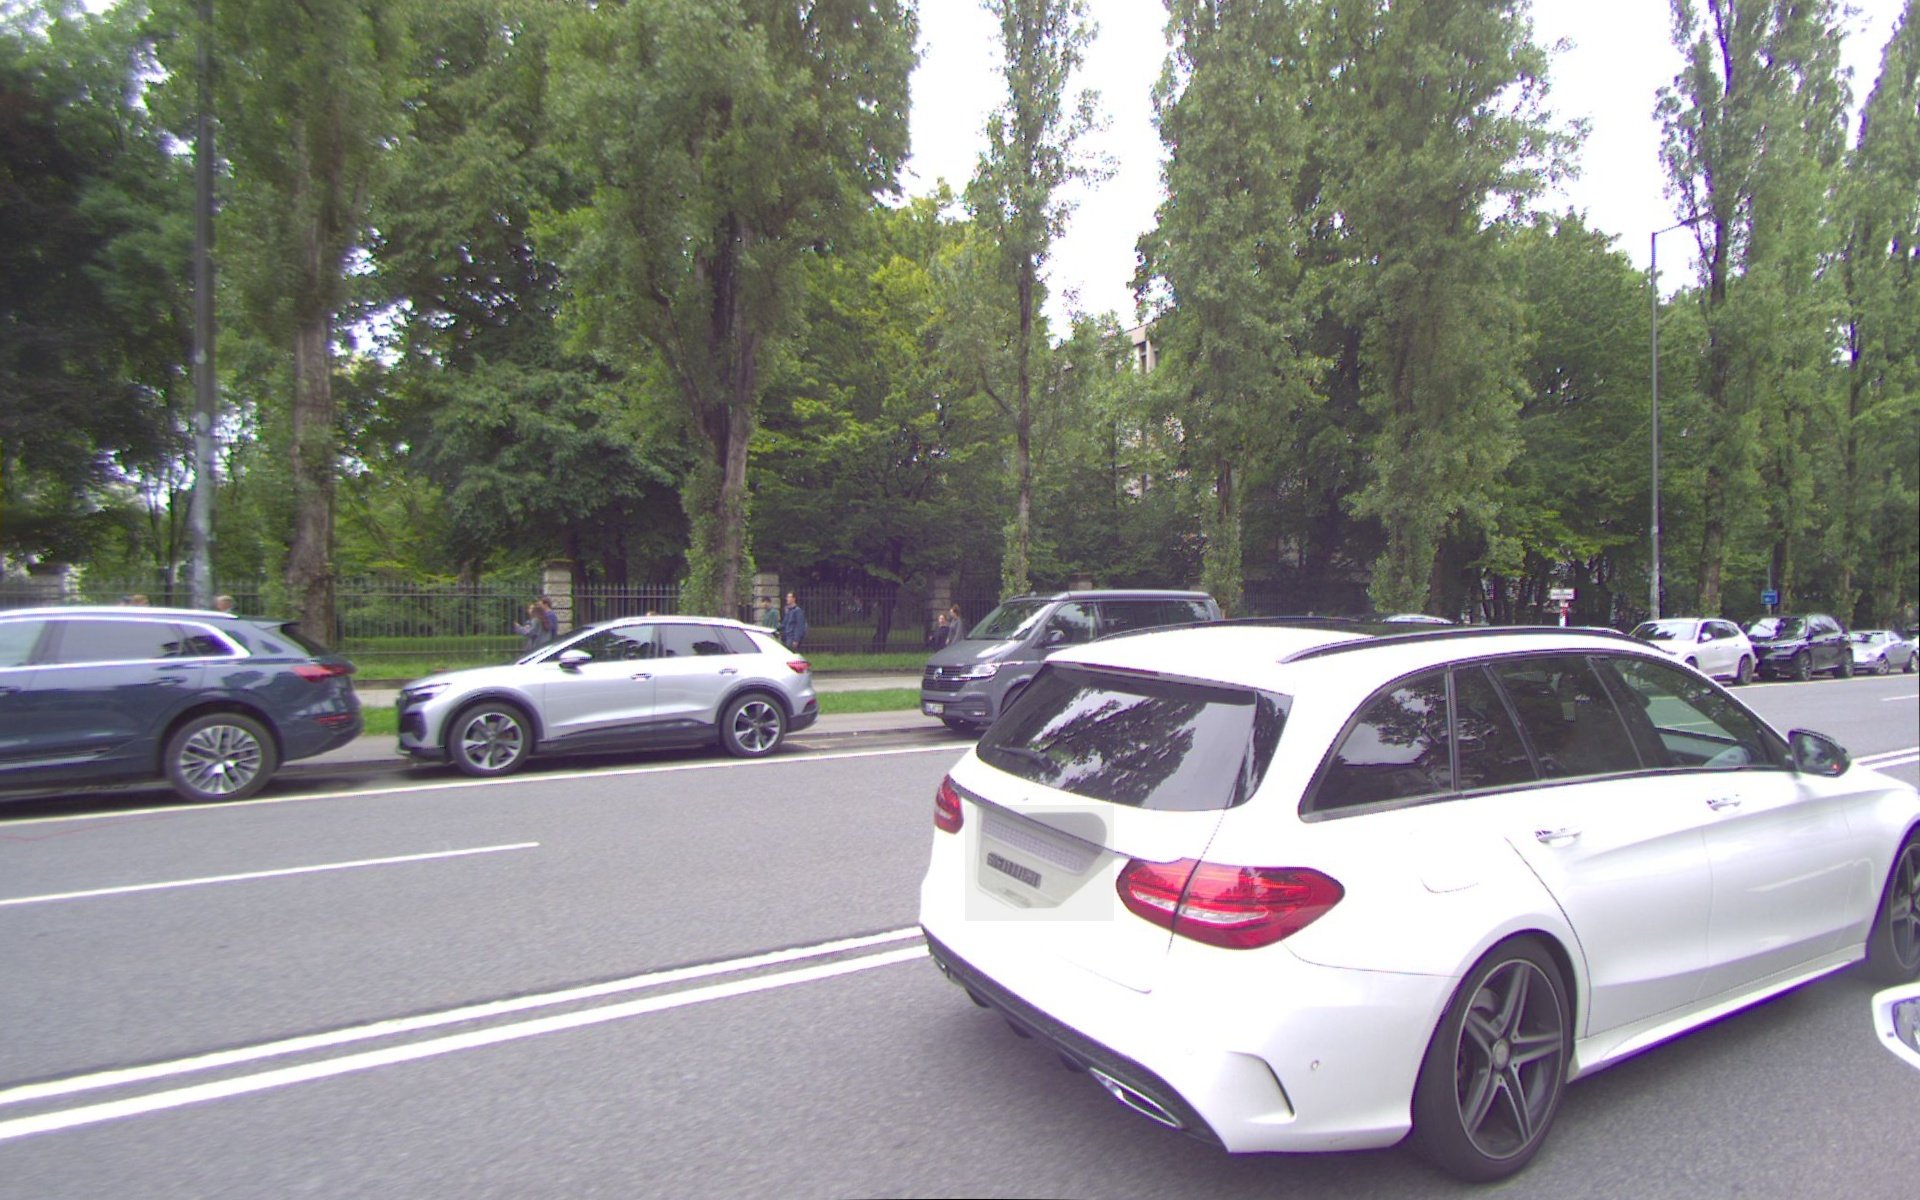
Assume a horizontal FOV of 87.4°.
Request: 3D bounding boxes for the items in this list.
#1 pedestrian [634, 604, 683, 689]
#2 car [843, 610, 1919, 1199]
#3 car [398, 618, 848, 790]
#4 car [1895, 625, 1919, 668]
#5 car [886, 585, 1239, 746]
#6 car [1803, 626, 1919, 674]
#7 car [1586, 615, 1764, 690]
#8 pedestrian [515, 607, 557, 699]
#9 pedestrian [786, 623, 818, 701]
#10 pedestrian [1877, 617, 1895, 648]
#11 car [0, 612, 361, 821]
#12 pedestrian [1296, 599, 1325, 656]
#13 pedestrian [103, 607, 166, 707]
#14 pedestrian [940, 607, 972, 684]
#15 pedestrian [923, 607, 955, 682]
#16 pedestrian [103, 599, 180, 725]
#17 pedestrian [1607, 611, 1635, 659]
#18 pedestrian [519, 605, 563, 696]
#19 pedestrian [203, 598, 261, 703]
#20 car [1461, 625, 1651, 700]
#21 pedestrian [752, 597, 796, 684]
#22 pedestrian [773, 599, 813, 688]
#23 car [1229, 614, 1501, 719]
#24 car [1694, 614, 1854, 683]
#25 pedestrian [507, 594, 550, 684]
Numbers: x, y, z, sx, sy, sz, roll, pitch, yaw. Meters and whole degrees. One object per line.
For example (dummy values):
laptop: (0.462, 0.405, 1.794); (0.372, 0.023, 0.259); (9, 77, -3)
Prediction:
pedestrian: (-5.920, 0.894, 19.699); (0.782, 1.639, 0.706); (0, 0, -31)
car: (1.989, 0.801, 3.914); (4.530, 1.474, 1.816); (1, 0, -32)
car: (-3.763, 1.026, 11.478); (4.601, 1.605, 1.881); (0, -2, -31)
car: (33.895, 1.554, 34.444); (3.960, 1.431, 1.676); (1, -3, -32)
car: (1.556, 0.862, 14.581); (4.881, 1.982, 1.984); (0, -2, -31)
car: (26.881, 1.462, 29.818); (3.981, 1.321, 1.573); (0, -3, -30)
car: (17.117, 1.217, 24.018); (4.408, 1.609, 1.777); (0, -3, -30)
pedestrian: (-7.982, 0.976, 18.897); (0.665, 1.691, 0.546); (0, 0, -30)
pedestrian: (-3.509, 1.362, 22.245); (0.541, 1.697, 0.583); (0, -1, -28)
pedestrian: (52.740, 1.867, 57.189); (0.633, 1.762, 0.596); (0, -1, -31)
car: (-7.807, 0.946, 8.619); (4.561, 1.617, 1.773); (0, -3, -31)
pedestrian: (10.995, 0.863, 31.498); (0.665, 1.771, 0.546); (1, 0, -31)
pedestrian: (-13.721, 0.920, 16.708); (0.696, 1.617, 0.615); (0, 0, -29)
pedestrian: (-0.086, 1.032, 23.088); (0.563, 1.730, 0.506); (0, 0, -30)
pedestrian: (-0.491, 1.032, 23.540); (0.563, 1.730, 0.506); (0, 0, -30)
pedestrian: (-11.708, 0.865, 14.385); (0.778, 1.743, 0.579); (0, 0, -32)
pedestrian: (25.242, 1.330, 38.346); (0.766, 1.839, 0.637); (0, -1, -31)
pedestrian: (-8.119, 0.965, 19.465); (0.714, 1.730, 0.506); (0, 0, -30)
pedestrian: (-11.953, 0.806, 16.507); (0.696, 1.682, 0.615); (0, 0, -30)
car: (12.626, 1.271, 21.212); (4.189, 1.441, 1.668); (1, -3, -31)
pedestrian: (-4.139, 0.887, 22.330); (0.748, 1.879, 0.743); (0, 0, -30)
pedestrian: (-3.575, 0.914, 21.544); (0.714, 1.884, 0.506); (0, 0, -30)
car: (7.203, 1.102, 17.718); (4.995, 1.630, 1.806); (1, -3, -31)
car: (21.748, 1.256, 26.788); (4.666, 1.680, 1.870); (0, -3, -32)
pedestrian: (-8.551, 0.761, 19.901); (0.724, 1.745, 0.664); (0, 0, -30)
